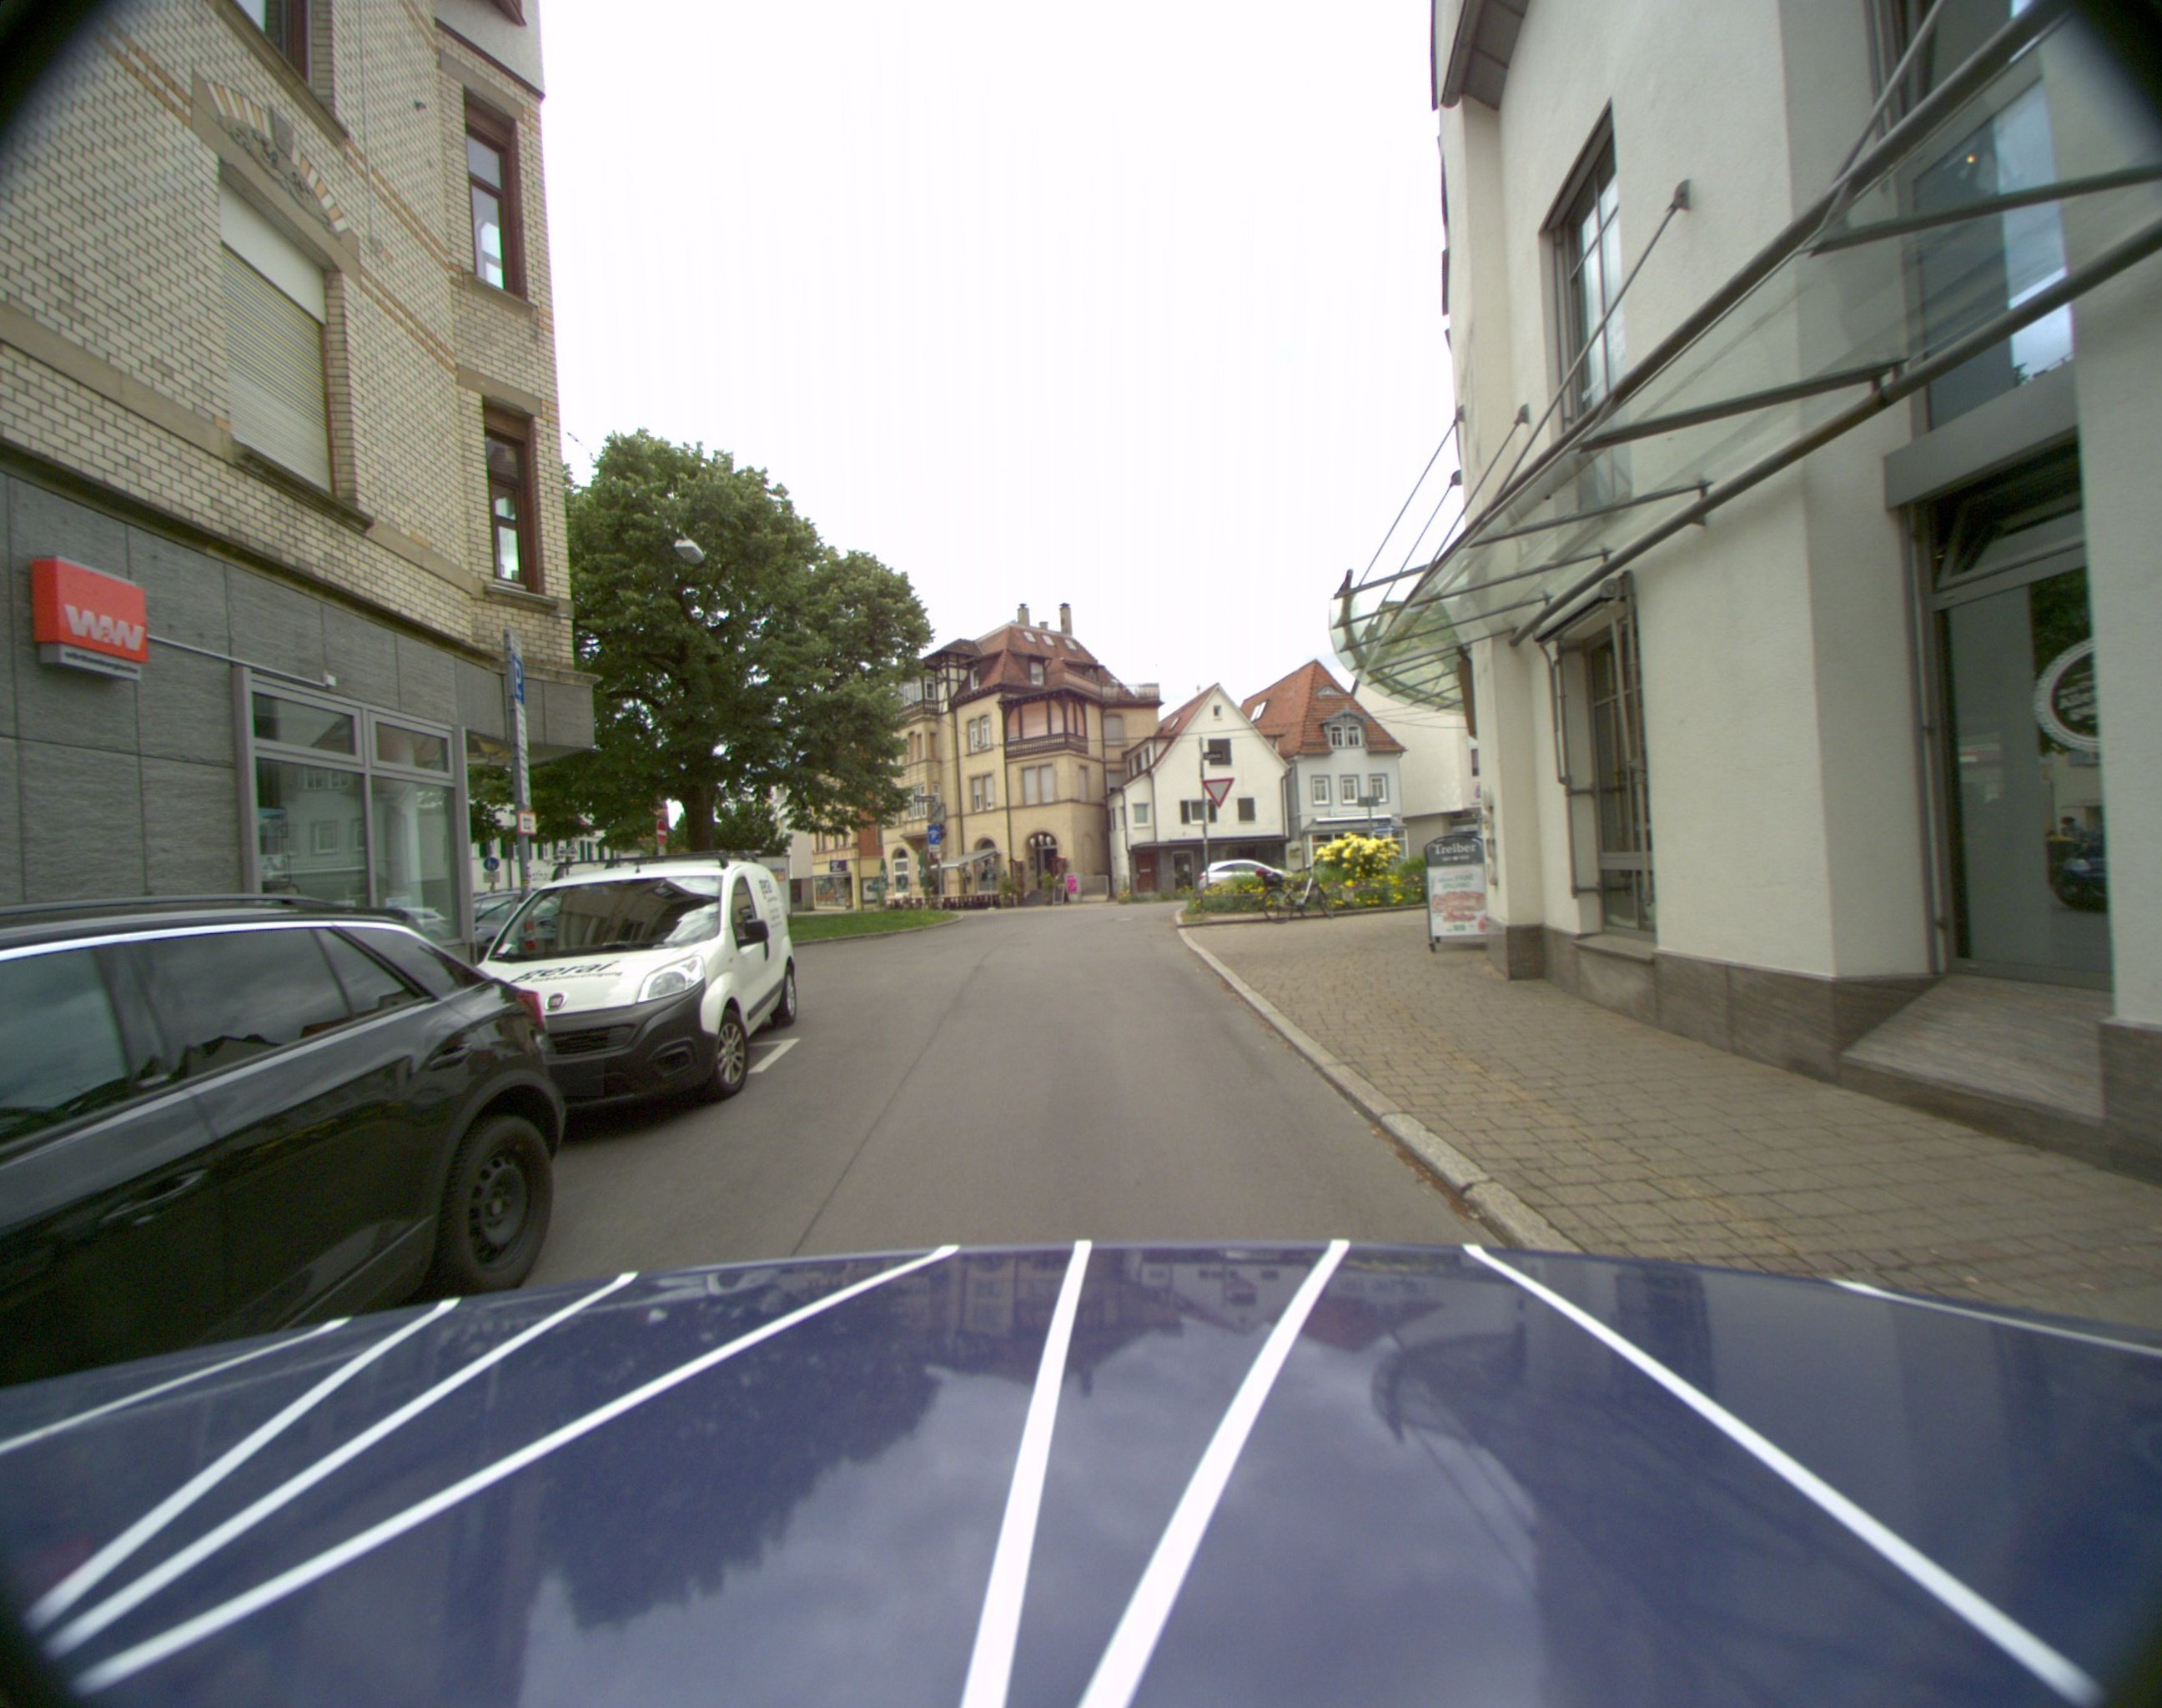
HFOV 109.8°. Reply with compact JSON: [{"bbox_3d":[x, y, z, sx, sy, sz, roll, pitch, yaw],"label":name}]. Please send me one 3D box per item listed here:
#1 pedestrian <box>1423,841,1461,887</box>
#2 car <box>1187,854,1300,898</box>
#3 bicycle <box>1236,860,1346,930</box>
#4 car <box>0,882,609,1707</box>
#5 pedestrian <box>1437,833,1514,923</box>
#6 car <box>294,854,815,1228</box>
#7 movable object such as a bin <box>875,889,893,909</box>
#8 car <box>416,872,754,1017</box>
[{"bbox_3d":[16.650,0.468,35.043,1.014,2.001,1.106,-4,-1,-7],"label":"pedestrian"},{"bbox_3d":[6.229,0.834,29.055,3.992,1.347,1.758,-5,0,18],"label":"car"},{"bbox_3d":[4.284,0.818,15.488,1.981,1.232,0.743,-4,-1,-16],"label":"bicycle"},{"bbox_3d":[-2.792,0.962,1.240,1.794,1.591,4.538,-4,0,-10],"label":"car"},{"bbox_3d":[6.985,0.433,13.477,0.703,1.516,0.866,-3,-1,-28],"label":"pedestrian"},{"bbox_3d":[-3.464,1.002,6.114,1.832,1.781,4.215,-4,0,-12],"label":"car"},{"bbox_3d":[-14.731,3.341,56.807,0.946,1.371,0.821,-6,3,-34],"label":"movable object such as a bin"},{"bbox_3d":[-7.115,1.282,10.991,4.015,1.694,1.864,-4,1,18],"label":"car"}]
